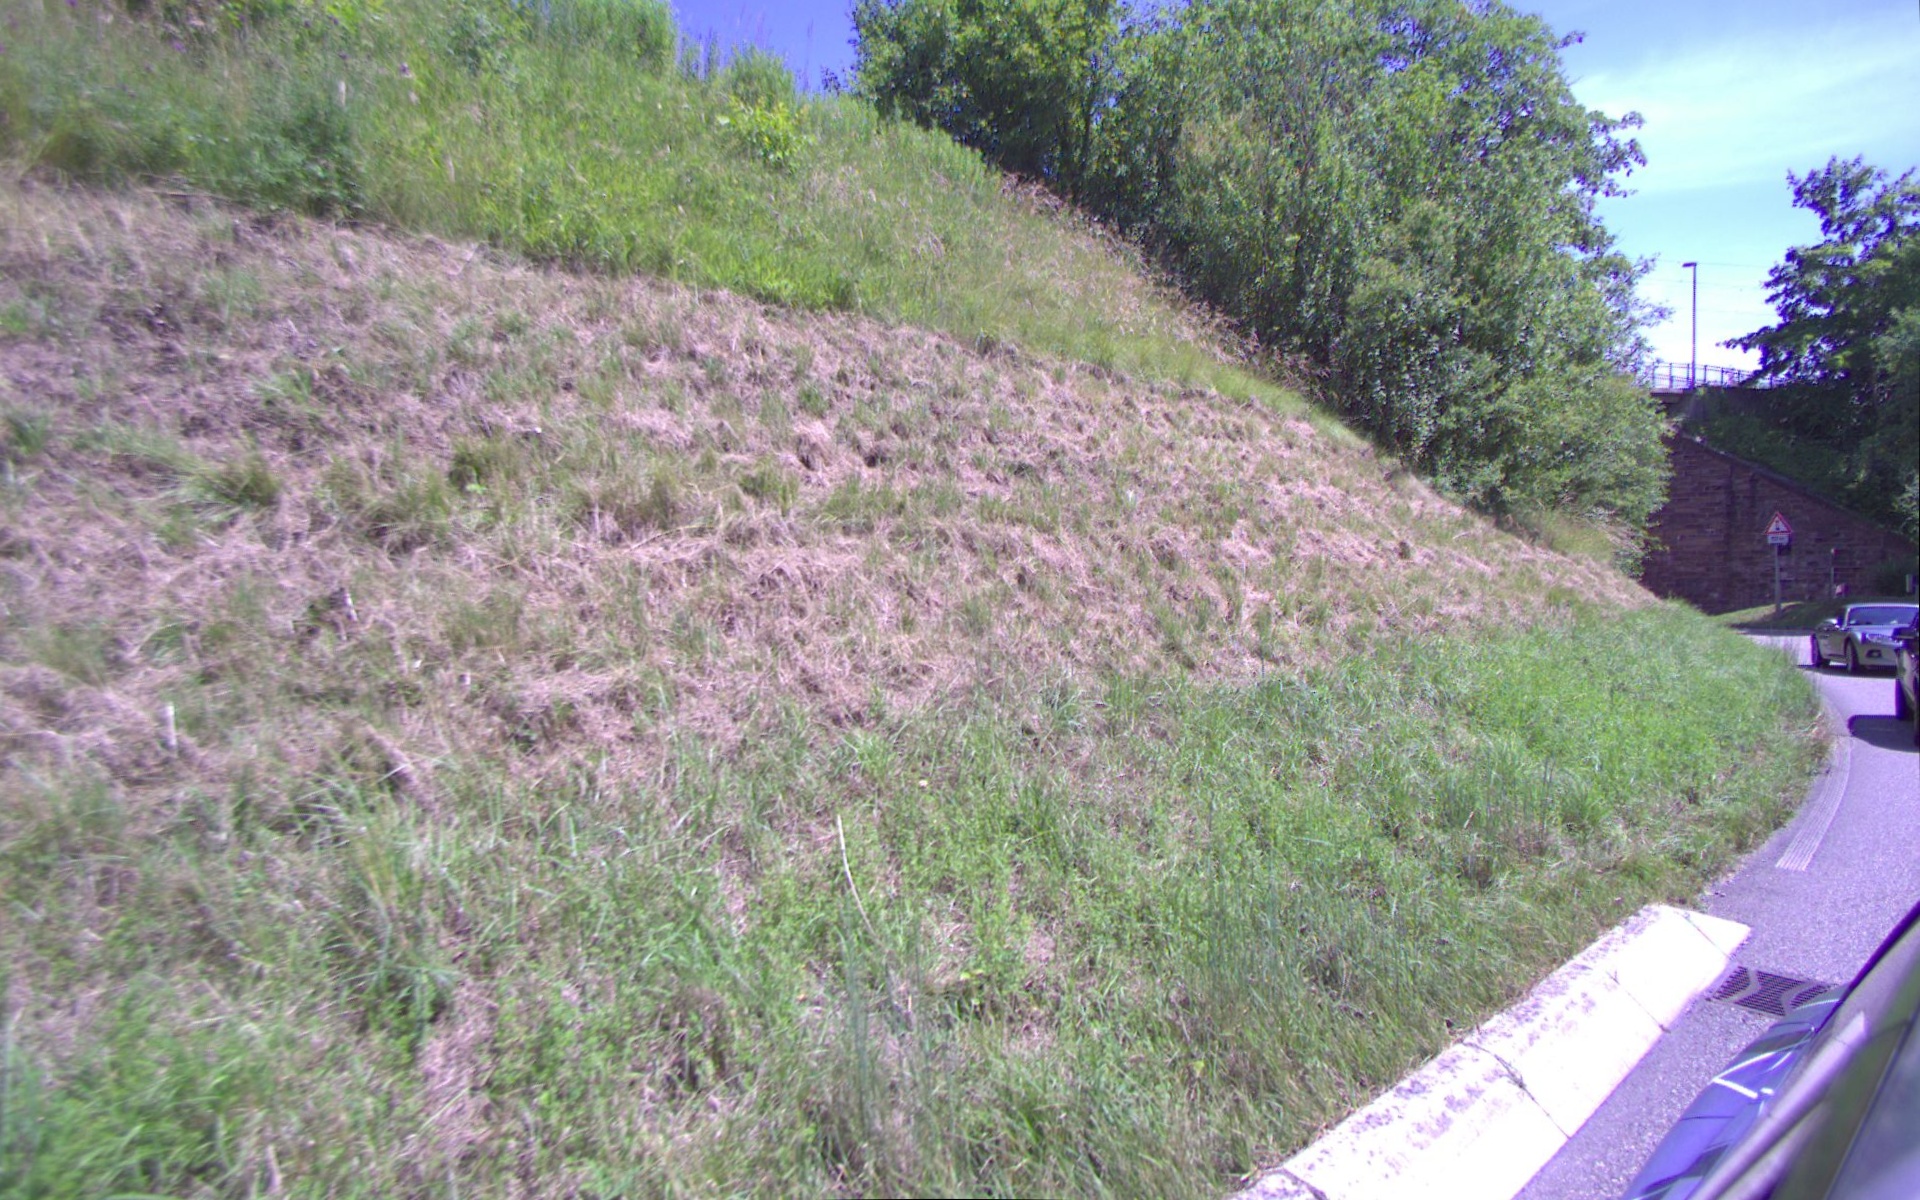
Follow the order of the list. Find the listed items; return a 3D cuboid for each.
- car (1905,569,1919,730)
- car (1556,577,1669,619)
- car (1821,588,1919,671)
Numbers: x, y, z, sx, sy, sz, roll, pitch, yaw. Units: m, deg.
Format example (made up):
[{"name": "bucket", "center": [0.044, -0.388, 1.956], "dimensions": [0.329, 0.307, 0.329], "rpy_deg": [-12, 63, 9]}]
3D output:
[{"name": "car", "center": [10.598, 0.483, 9.925], "dimensions": [1.789, 1.599, 3.743], "rpy_deg": [-1, 0, 41]}, {"name": "car", "center": [25.032, -0.053, 38.963], "dimensions": [1.627, 1.477, 3.640], "rpy_deg": [-2, 0, -7]}, {"name": "car", "center": [16.785, 0.474, 18.153], "dimensions": [1.637, 1.339, 3.397], "rpy_deg": [-1, 0, 34]}]
